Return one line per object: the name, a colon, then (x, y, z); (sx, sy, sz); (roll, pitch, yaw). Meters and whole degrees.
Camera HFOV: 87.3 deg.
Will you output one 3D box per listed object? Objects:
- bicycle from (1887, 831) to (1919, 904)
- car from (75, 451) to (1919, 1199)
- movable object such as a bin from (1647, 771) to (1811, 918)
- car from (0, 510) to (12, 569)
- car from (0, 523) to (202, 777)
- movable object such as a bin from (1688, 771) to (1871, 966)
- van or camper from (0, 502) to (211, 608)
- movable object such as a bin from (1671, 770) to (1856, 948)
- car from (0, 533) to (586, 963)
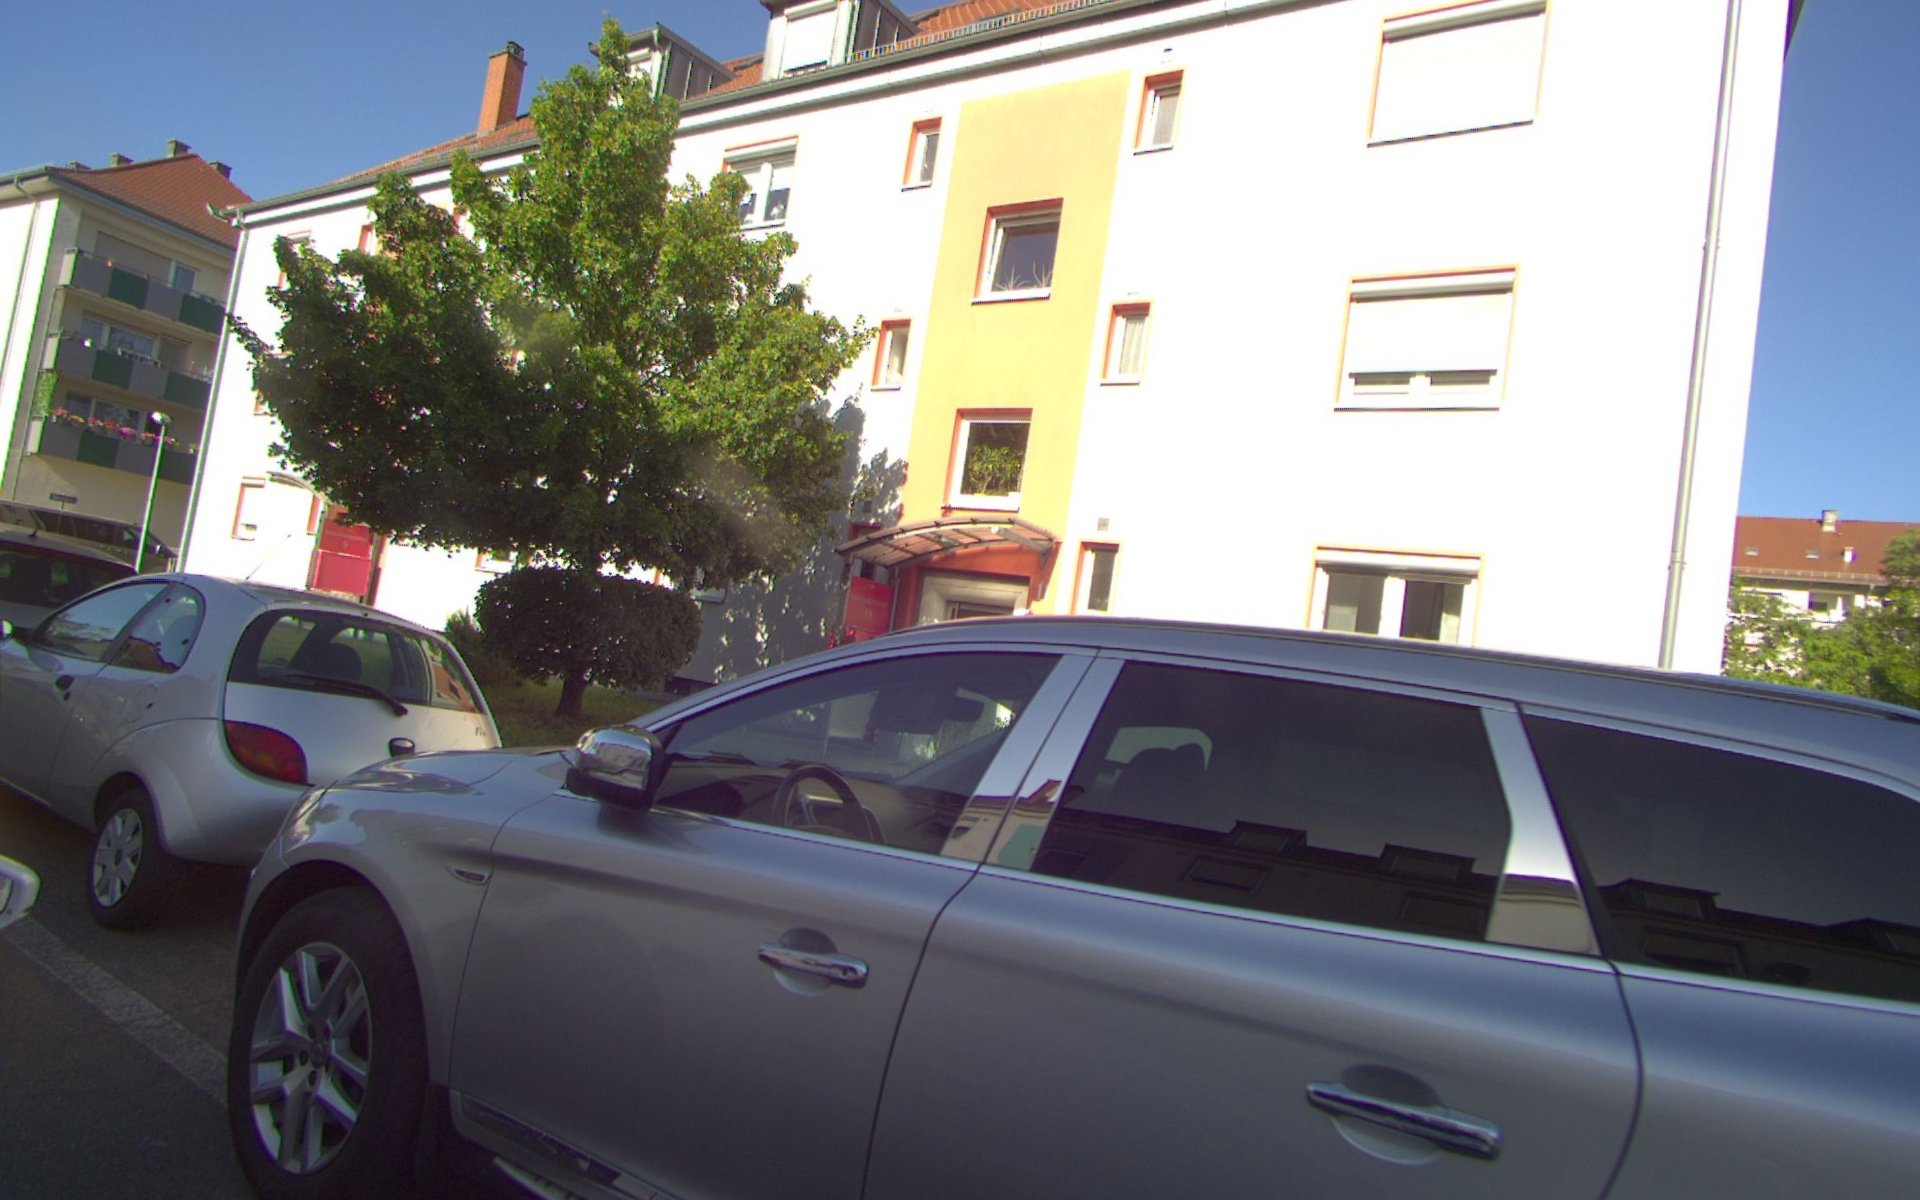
bicycle: (14.541, 3.987, 14.427); (1.708, 0.957, 0.422); (7, -1, 22)
car: (0.066, 0.817, 2.435); (4.233, 1.735, 1.784); (7, -6, 29)
movable object such as a bin: (9.624, 3.010, 12.682); (1.378, 1.450, 1.298); (7, -3, 32)
car: (-11.136, -0.378, 9.712); (3.548, 1.566, 1.624); (7, -4, 27)
car: (-7.373, 0.096, 7.044); (3.883, 1.464, 1.637); (8, -6, 28)
movable object such as a bin: (8.161, 2.614, 10.111); (1.126, 1.568, 1.298); (7, -3, 32)
van or camper: (-23.790, -1.245, 27.198); (1.967, 2.034, 5.139); (8, -4, 32)
movable object such as a bin: (8.888, 2.804, 11.225); (1.317, 1.568, 1.298); (7, -3, 32)
car: (-3.851, 0.580, 5.237); (3.431, 1.407, 1.635); (7, -6, 32)
